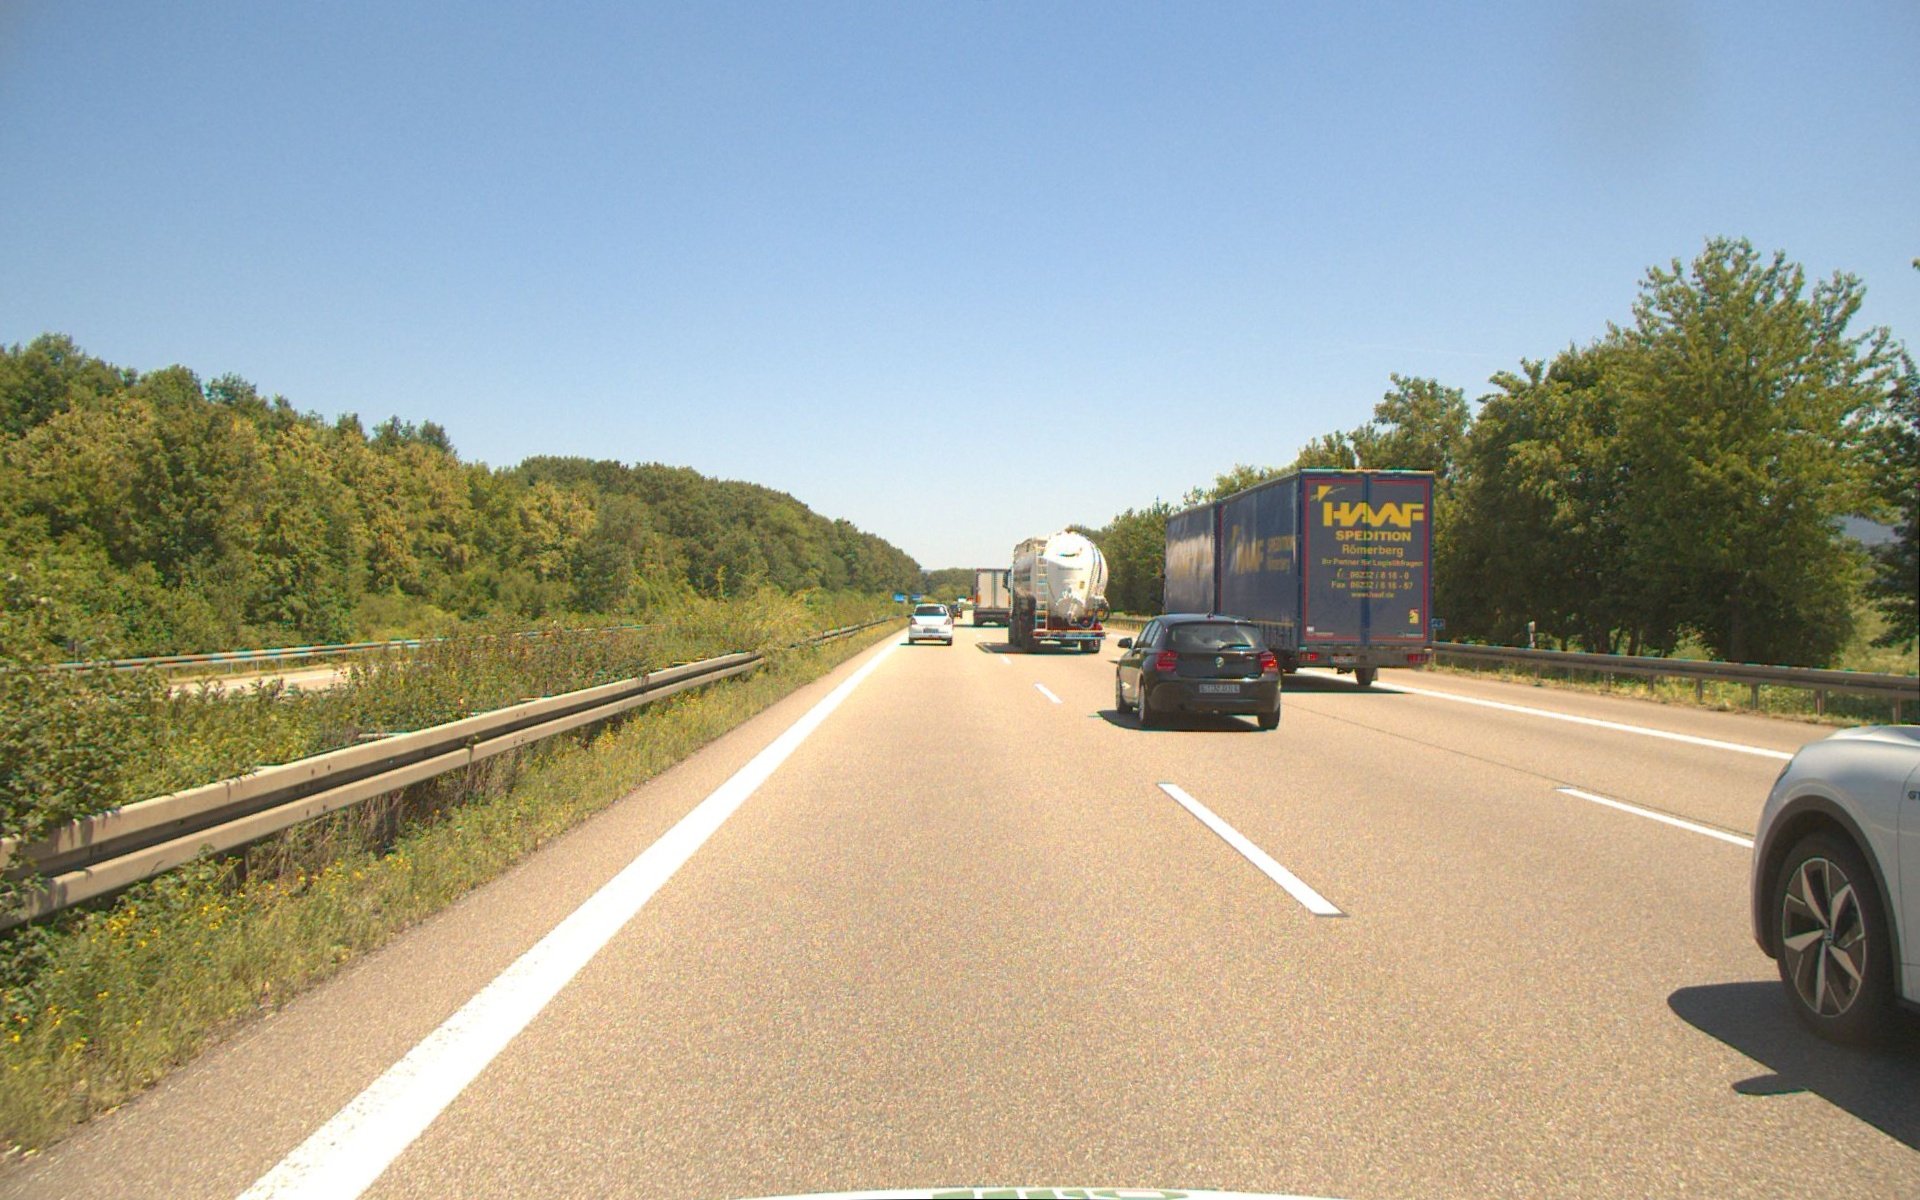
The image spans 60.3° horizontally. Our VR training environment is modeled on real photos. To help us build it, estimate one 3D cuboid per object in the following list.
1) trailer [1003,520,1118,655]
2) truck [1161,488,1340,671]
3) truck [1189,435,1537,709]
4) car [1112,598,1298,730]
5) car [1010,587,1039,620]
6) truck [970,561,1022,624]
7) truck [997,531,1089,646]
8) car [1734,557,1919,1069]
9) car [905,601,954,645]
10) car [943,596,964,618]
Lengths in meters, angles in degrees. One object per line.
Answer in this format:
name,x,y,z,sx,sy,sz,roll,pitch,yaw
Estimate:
trailer,3.303,-0.401,57.907,2.853,4.140,12.413,1,0,-2
truck,7.258,-0.475,42.606,3.045,4.211,8.055,1,0,-1
truck,7.359,-0.456,33.508,3.045,4.211,15.508,1,0,-1
car,3.132,0.774,21.874,1.812,1.549,3.956,1,0,-1
car,6.498,0.333,166.484,2.615,3.245,5.566,1,0,-1
truck,2.530,-0.536,120.883,3.325,4.287,12.081,1,0,-1
truck,3.121,-0.431,64.125,2.853,4.150,7.192,1,0,-2
car,3.970,0.697,4.322,1.766,1.631,4.379,1,0,-1
car,-1.182,0.854,62.951,1.763,1.579,3.608,1,0,-2
car,-0.765,0.782,191.363,2.425,2.395,5.180,1,0,-1
